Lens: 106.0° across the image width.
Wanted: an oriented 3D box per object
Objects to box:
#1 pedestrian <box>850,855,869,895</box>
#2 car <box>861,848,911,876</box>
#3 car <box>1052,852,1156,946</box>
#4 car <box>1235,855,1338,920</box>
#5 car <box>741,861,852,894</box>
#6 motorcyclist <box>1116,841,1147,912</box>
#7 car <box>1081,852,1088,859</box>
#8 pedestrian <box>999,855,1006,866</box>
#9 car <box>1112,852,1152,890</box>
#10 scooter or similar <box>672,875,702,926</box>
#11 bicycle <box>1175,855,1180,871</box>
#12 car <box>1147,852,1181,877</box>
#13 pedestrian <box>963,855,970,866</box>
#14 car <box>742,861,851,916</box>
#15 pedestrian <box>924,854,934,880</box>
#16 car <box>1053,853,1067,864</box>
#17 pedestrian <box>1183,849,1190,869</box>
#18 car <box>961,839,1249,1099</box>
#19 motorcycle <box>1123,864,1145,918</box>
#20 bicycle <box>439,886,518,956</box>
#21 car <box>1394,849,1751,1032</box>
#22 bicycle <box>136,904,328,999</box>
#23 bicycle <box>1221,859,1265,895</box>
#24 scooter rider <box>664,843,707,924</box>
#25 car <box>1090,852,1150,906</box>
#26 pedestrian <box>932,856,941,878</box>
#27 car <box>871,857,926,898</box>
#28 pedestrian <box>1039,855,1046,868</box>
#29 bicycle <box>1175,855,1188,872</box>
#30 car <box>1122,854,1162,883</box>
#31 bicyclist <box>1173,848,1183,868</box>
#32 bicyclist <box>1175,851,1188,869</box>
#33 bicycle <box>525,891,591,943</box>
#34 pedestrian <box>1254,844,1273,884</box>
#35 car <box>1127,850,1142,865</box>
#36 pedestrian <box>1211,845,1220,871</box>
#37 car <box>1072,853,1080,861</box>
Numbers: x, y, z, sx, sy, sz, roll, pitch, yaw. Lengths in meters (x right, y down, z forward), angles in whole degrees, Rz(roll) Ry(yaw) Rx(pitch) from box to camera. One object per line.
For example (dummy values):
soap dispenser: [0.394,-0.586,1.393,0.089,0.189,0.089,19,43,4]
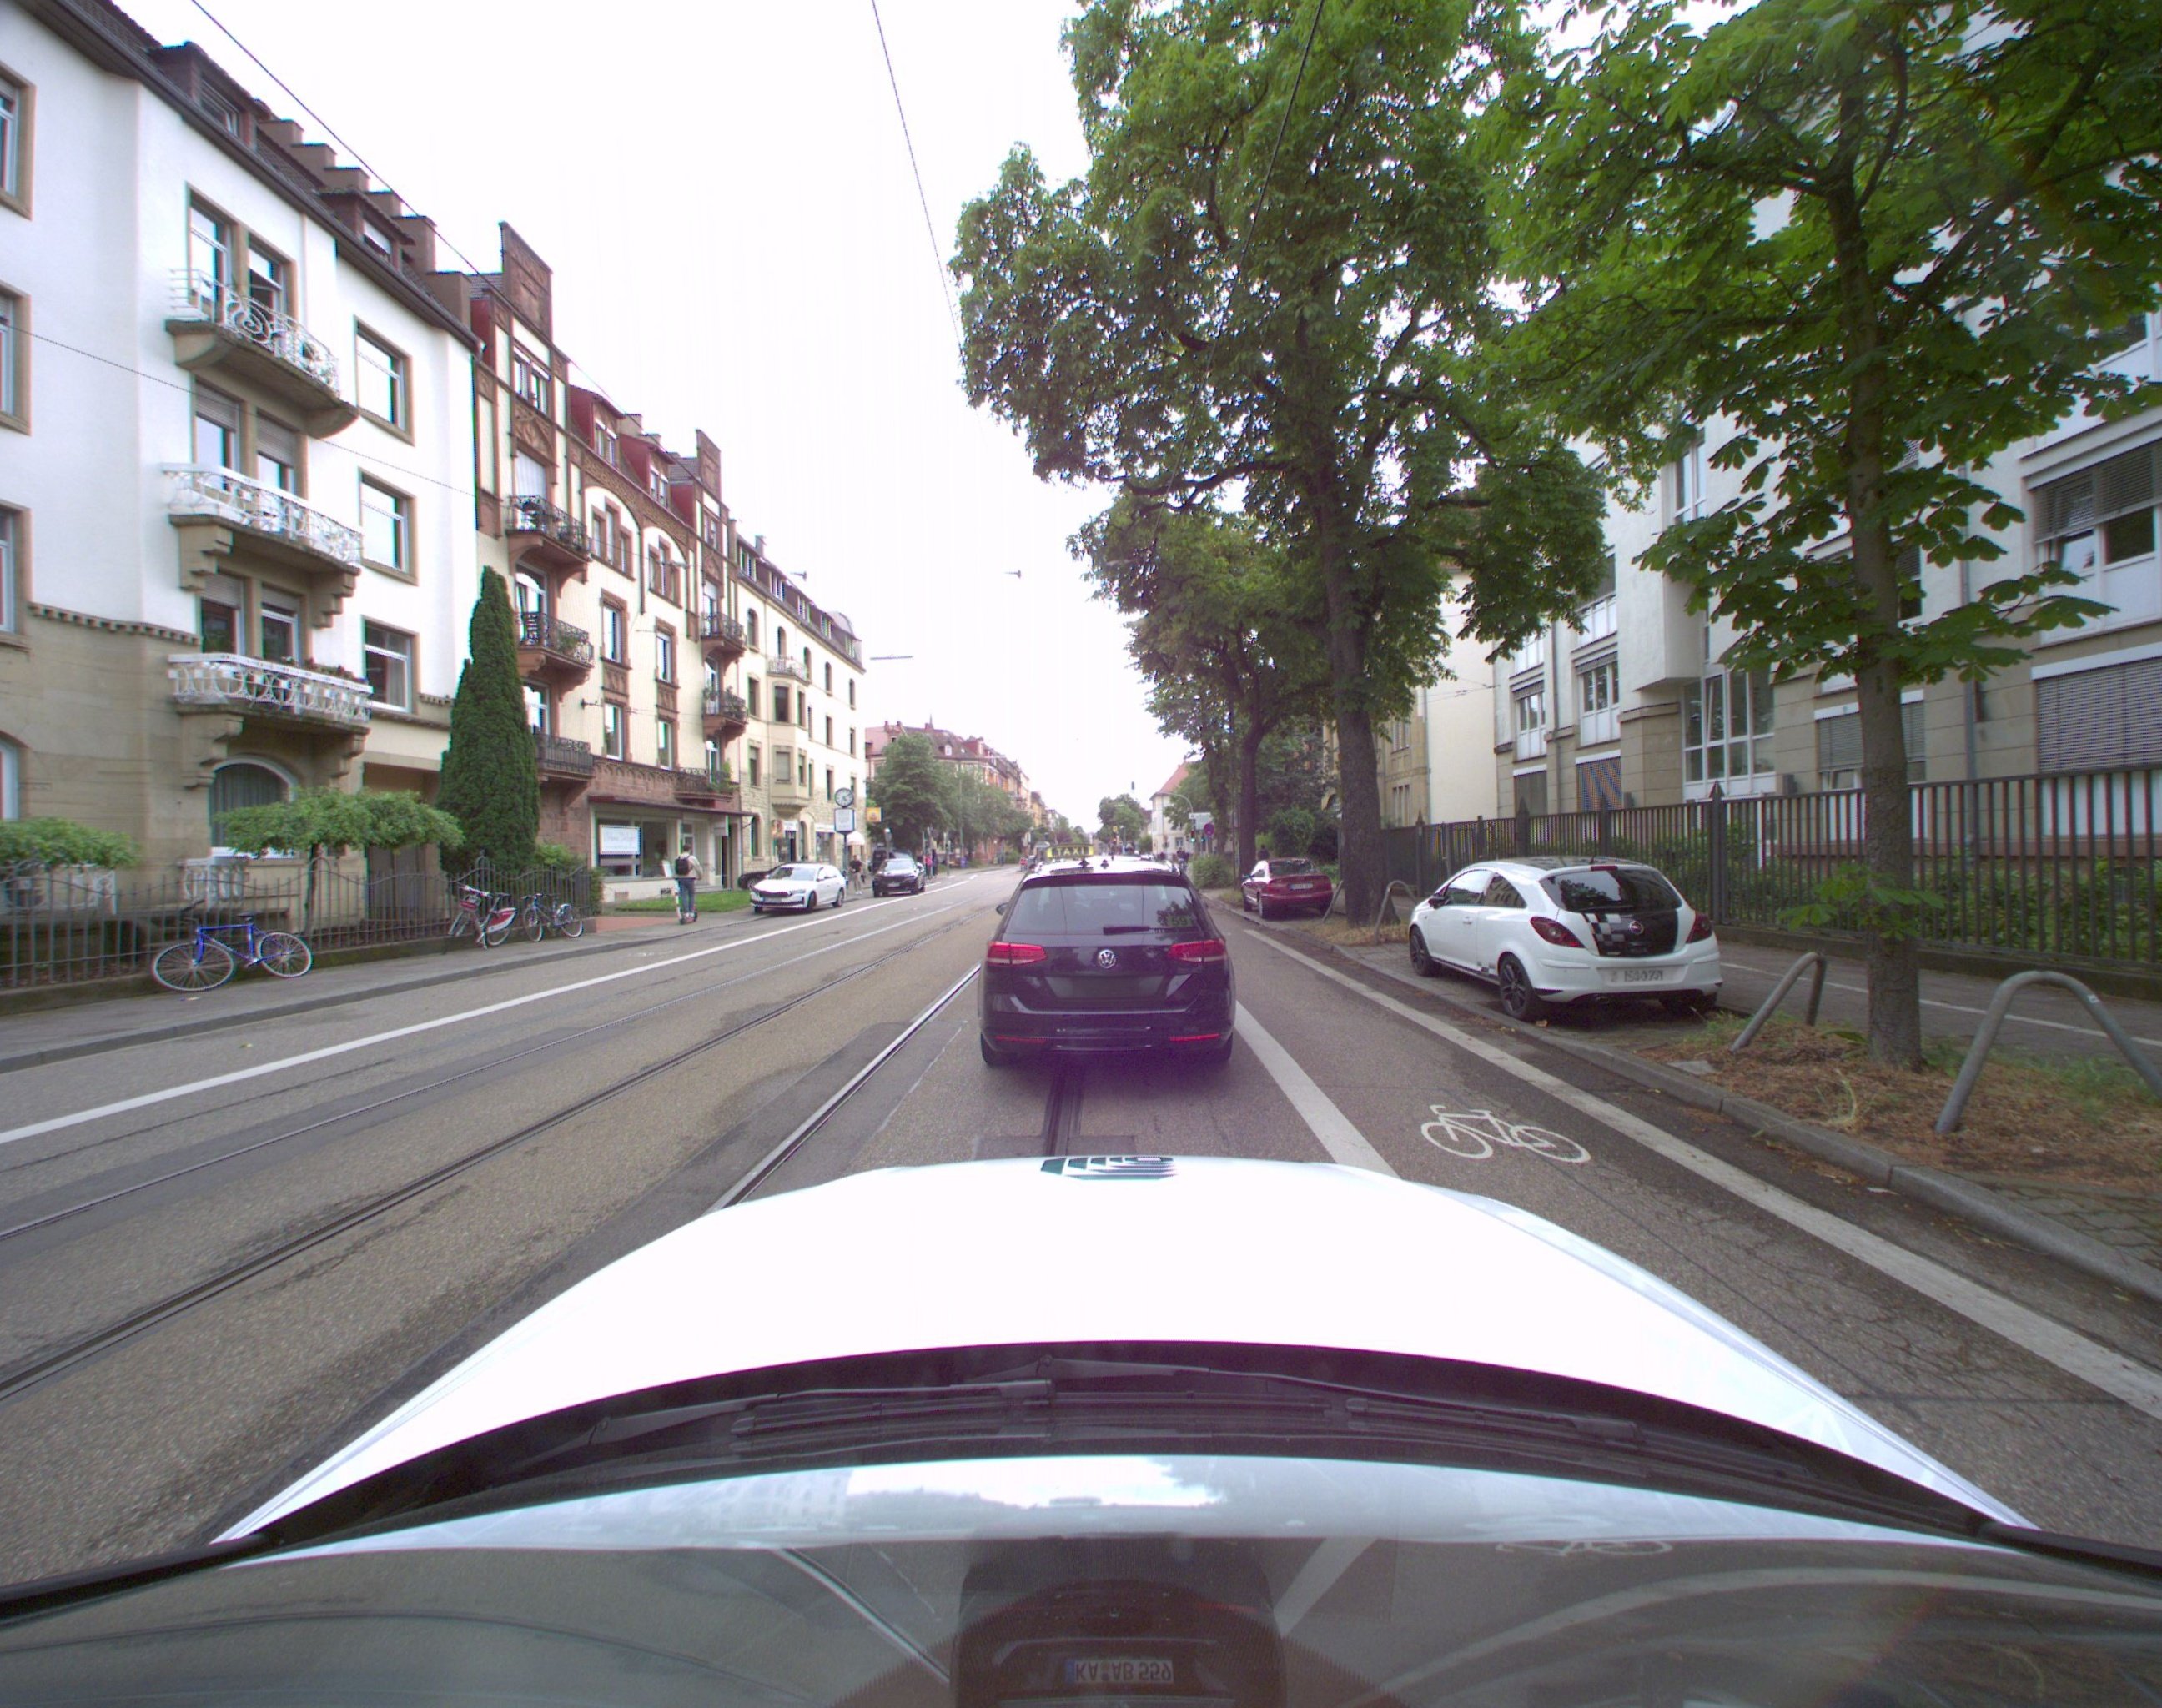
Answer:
pedestrian: [-10.405,0.959,38.305,0.667,1.844,0.880,-2,0,-8]
car: [-17.750,0.762,74.031,2.197,2.417,5.316,-1,0,-41]
car: [0.457,0.753,15.655,1.717,1.546,4.002,-1,0,2]
car: [5.100,0.770,20.753,1.596,1.399,4.229,-3,0,2]
car: [-13.033,1.064,37.518,4.415,1.370,1.878,1,0,-3]
motorcyclist: [1.232,0.538,20.063,0.700,1.692,0.805,-2,0,1]
car: [0.854,0.338,205.339,1.715,1.622,3.864,-2,0,1]
pedestrian: [-10.723,0.915,111.668,0.582,1.520,0.653,-2,0,37]
car: [2.162,0.713,35.157,1.600,1.556,3.579,0,-1,2]
scooter or similar: [-10.043,1.164,20.764,0.230,1.234,0.954,-2,0,2]
bicycle: [7.451,0.703,62.973,0.295,1.223,1.434,-2,0,9]
car: [5.411,0.657,53.430,1.986,1.577,4.001,0,-1,2]
pedestrian: [-15.580,0.897,110.440,0.582,1.520,0.653,-2,0,37]
car: [-8.922,1.025,25.996,1.741,1.484,4.609,-2,0,1]
pedestrian: [-11.031,0.940,59.080,0.621,1.842,0.609,-2,0,-1]
car: [-3.501,0.822,134.748,1.985,1.791,4.004,0,-1,4]
pedestrian: [8.462,0.413,65.268,0.447,1.562,0.480,-2,0,9]
car: [0.208,0.693,6.929,1.717,1.546,4.002,-1,0,2]
motorcycle: [1.279,0.877,19.947,0.445,1.235,1.907,-2,0,2]
bicycle: [-10.542,1.142,14.306,0.385,1.102,1.620,-2,0,-9]
car: [4.829,0.719,8.696,1.596,1.435,3.779,-3,0,3]
bicycle: [-10.814,1.205,10.469,0.356,0.928,1.663,-21,-1,4]
bicycle: [5.616,0.787,28.142,1.915,1.198,0.428,0,-1,-43]
scooter rider: [-10.072,0.741,20.756,0.639,2.013,0.758,-2,0,1]
car: [1.209,0.731,25.677,1.717,1.546,4.002,-1,0,2]
pedestrian: [-11.373,1.015,64.075,0.587,1.663,0.839,-2,0,-2]
car: [-8.343,1.036,37.595,1.881,1.611,4.875,-4,0,-7]
pedestrian: [-4.519,0.901,95.596,0.711,1.520,0.590,-2,0,3]
bicycle: [7.364,0.714,59.574,0.250,1.196,1.164,-2,0,42]
car: [3.421,0.759,44.820,1.881,1.408,4.009,-2,0,8]
bicyclist: [7.509,0.310,63.026,0.647,1.568,0.697,-2,0,8]
bicyclist: [7.365,0.461,59.528,0.645,1.302,0.700,-2,0,43]
bicycle: [-10.695,1.274,16.705,0.331,0.938,1.516,-2,0,1]
pedestrian: [8.469,0.444,37.784,0.630,1.815,0.726,-2,0,-1]
car: [7.470,0.496,114.129,2.025,2.014,4.001,0,-1,2]
pedestrian: [9.761,0.293,59.104,0.510,1.831,0.420,-5,0,18]
car: [-1.066,0.636,173.987,1.715,1.622,3.864,-2,0,1]
